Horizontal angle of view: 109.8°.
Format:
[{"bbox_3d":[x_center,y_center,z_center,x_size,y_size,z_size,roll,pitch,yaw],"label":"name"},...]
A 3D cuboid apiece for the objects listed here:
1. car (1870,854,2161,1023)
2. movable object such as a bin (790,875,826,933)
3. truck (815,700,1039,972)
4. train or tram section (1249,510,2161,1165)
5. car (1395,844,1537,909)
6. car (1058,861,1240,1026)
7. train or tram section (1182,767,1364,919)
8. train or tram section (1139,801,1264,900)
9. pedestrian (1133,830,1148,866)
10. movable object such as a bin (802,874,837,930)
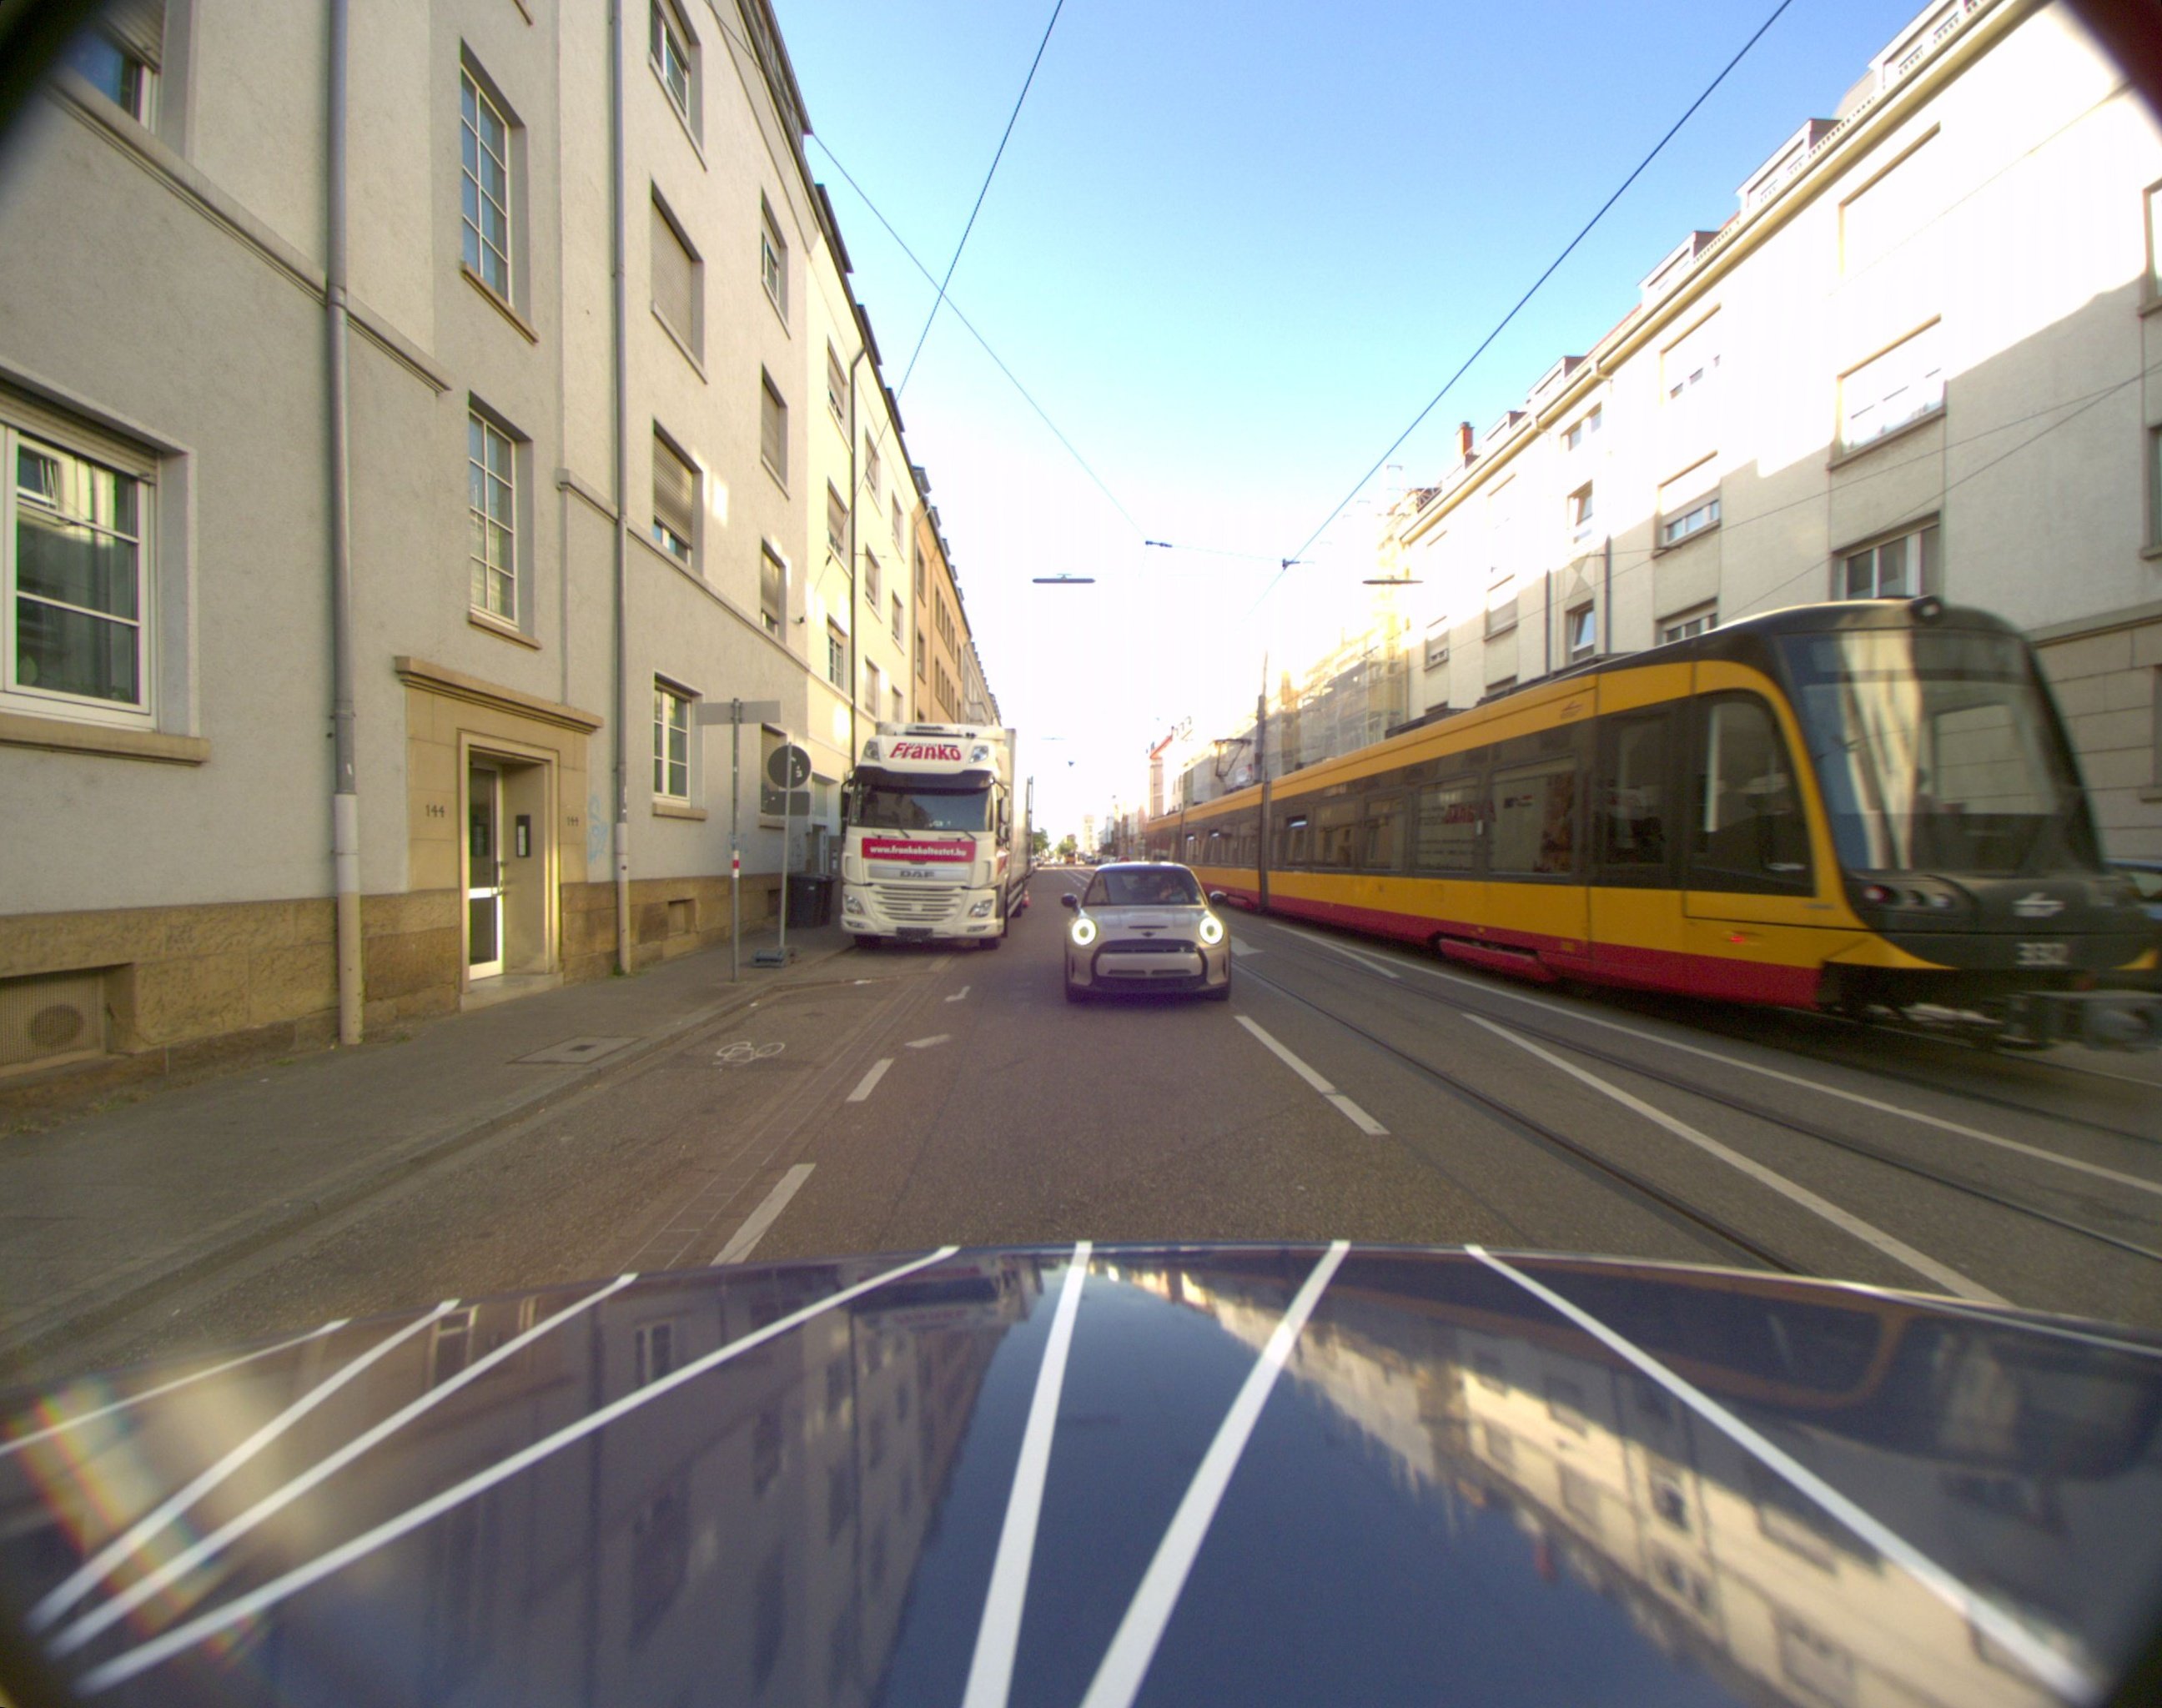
[{"bbox_3d":[11.393,0.836,8.375,1.670,1.563,3.496,-2,1,-2],"label":"car"},{"bbox_3d":[-5.402,0.978,15.047,0.512,1.085,0.495,-2,1,-4],"label":"movable object such as a bin"},{"bbox_3d":[-2.598,-0.260,17.128,2.899,3.939,11.704,-2,0,-2],"label":"truck"},{"bbox_3d":[5.756,-0.182,11.394,2.752,3.611,14.260,-2,1,-2],"label":"train or tram section"},{"bbox_3d":[10.652,0.554,21.388,1.712,1.582,4.112,-2,1,-3],"label":"car"},{"bbox_3d":[0.632,0.854,9.076,1.692,1.495,4.000,0,0,0],"label":"car"},{"bbox_3d":[5.311,-0.299,23.165,2.833,3.610,9.081,-2,1,-2],"label":"train or tram section"},{"bbox_3d":[4.901,-0.175,34.064,3.070,3.573,12.626,1,0,-2],"label":"train or tram section"},{"bbox_3d":[7.385,-0.741,94.568,1.723,4.377,1.153,-2,1,2],"label":"pedestrian"},{"bbox_3d":[-5.371,0.976,15.632,0.512,1.085,0.495,-2,1,-4],"label":"movable object such as a bin"}]
